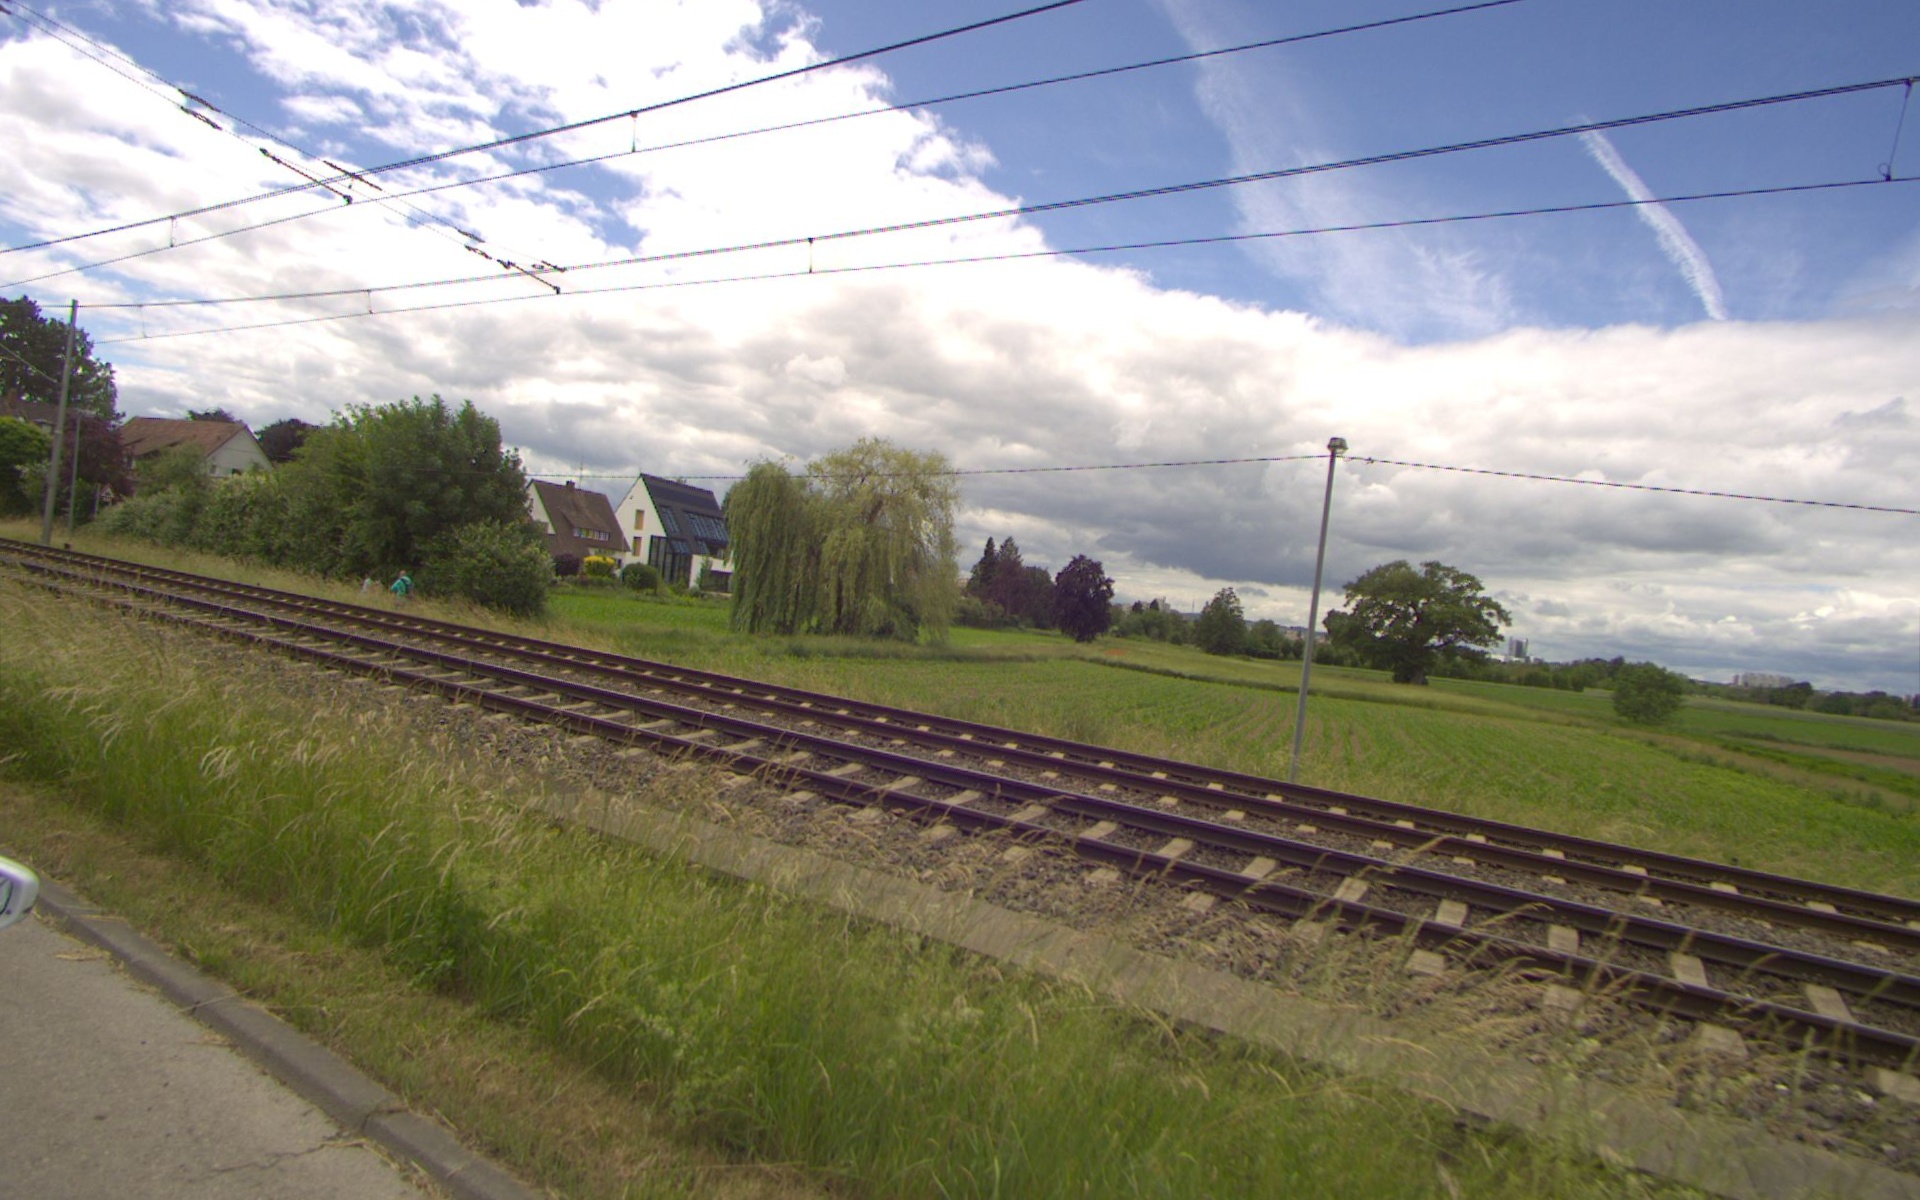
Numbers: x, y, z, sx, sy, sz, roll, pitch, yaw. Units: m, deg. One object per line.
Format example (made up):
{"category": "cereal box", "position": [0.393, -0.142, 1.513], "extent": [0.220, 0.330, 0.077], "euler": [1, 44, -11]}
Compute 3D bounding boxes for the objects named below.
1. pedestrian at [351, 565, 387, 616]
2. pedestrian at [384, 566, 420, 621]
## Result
{"category": "pedestrian", "position": [-18.398, -0.294, 31.296], "extent": [0.656, 1.447, 0.598], "euler": [7, -1, 36]}
{"category": "pedestrian", "position": [-17.784, -0.208, 32.069], "extent": [0.574, 1.641, 0.617], "euler": [7, -1, 32]}
